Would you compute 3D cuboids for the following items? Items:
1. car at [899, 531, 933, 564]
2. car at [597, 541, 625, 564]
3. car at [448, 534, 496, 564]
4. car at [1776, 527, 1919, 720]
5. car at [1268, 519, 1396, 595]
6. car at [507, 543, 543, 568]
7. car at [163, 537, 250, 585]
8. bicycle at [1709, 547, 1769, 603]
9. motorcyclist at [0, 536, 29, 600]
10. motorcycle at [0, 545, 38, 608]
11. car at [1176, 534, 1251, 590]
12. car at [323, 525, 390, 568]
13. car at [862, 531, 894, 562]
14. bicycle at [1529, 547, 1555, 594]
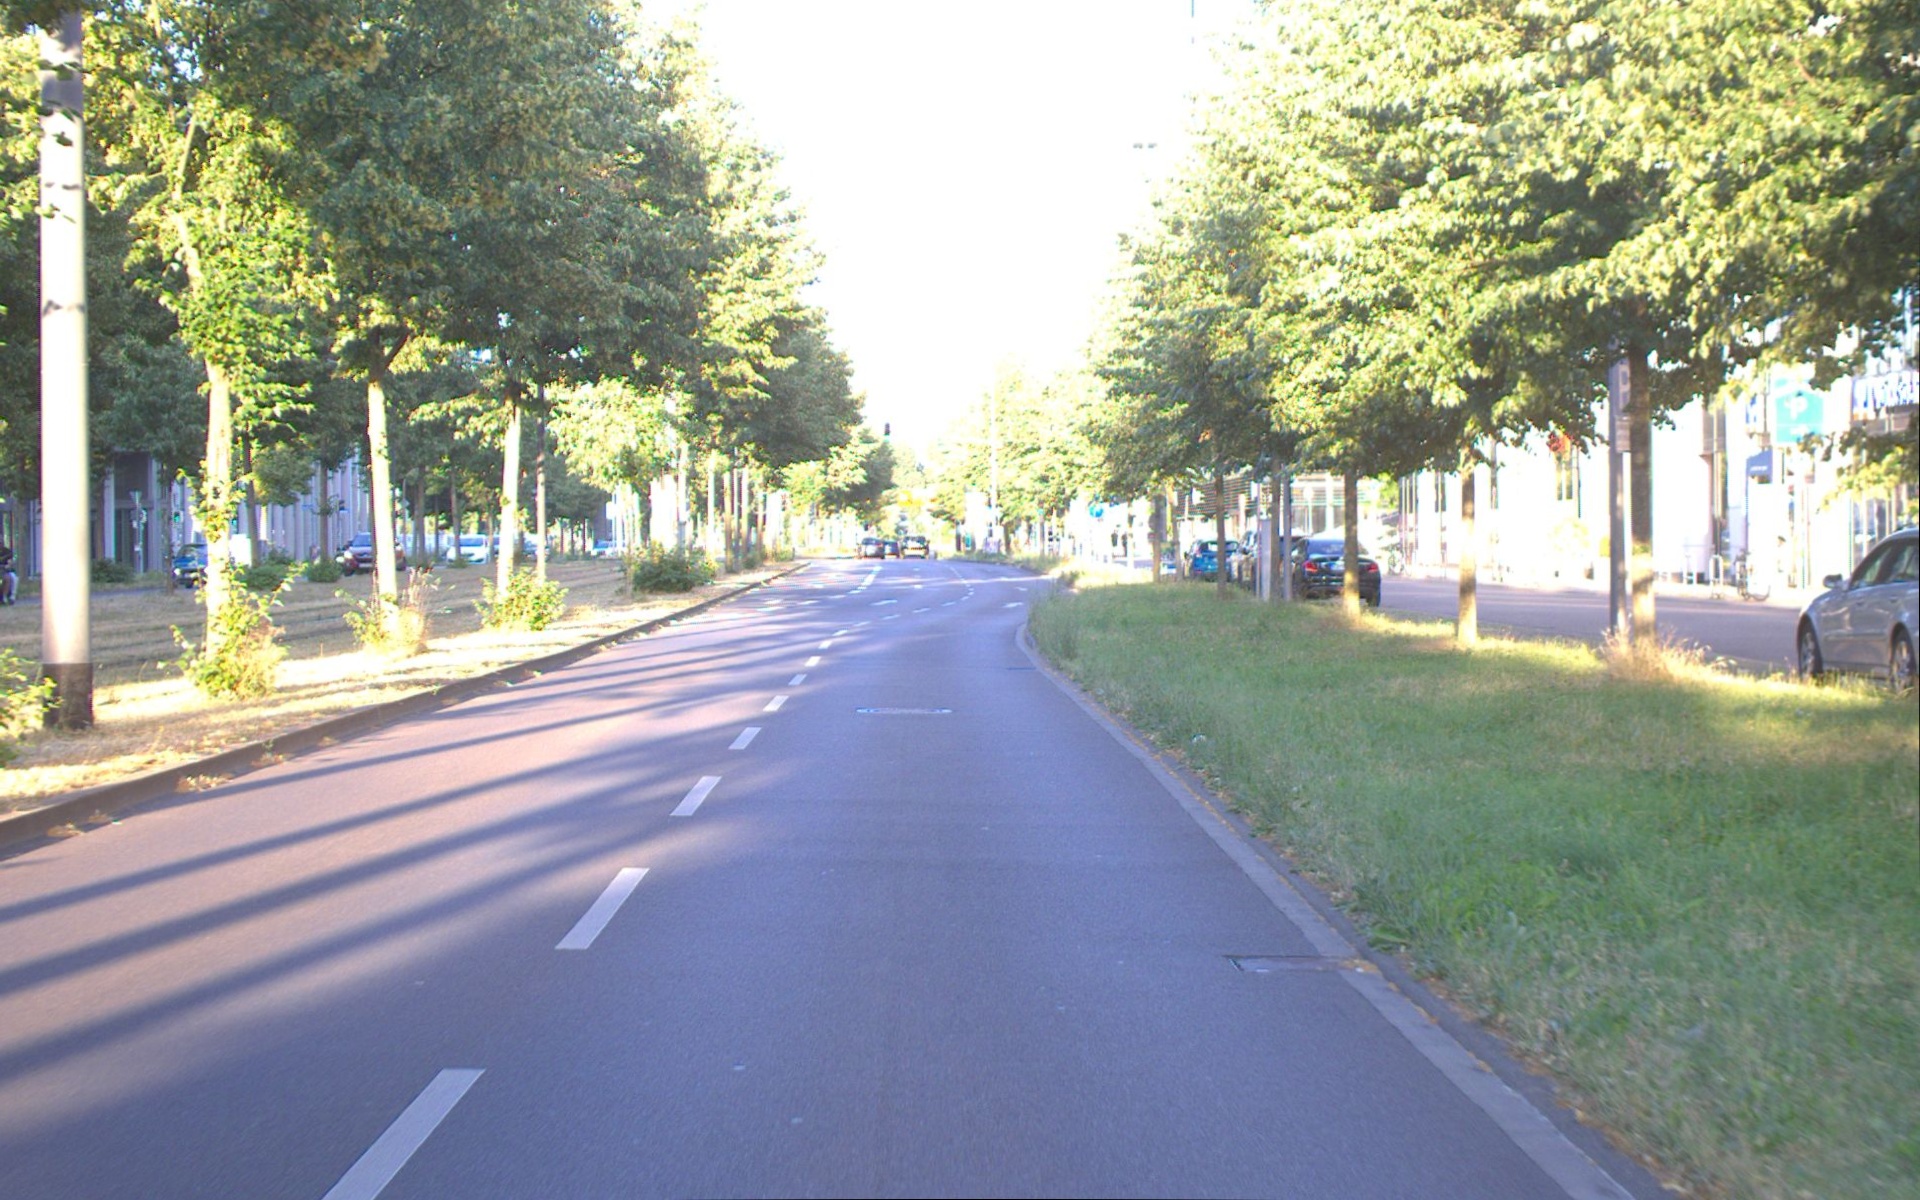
[{"bbox_3d":[-2.703,-3.208,209.020,1.993,2.007,4.001,0,1,-1],"label":"car"},{"bbox_3d":[-23.744,-3.221,234.023,1.804,1.541,3.535,0,1,-5],"label":"car"},{"bbox_3d":[-21.857,-2.301,154.027,1.657,1.327,4.531,0,1,-2],"label":"car"},{"bbox_3d":[8.380,0.144,28.823,1.808,1.495,4.826,0,1,-2],"label":"car"},{"bbox_3d":[7.818,-0.929,72.647,1.943,1.543,4.812,0,1,-3],"label":"car"},{"bbox_3d":[-25.171,-2.599,199.161,1.776,1.406,3.709,0,1,-3],"label":"car"},{"bbox_3d":[-24.246,-1.272,110.800,1.918,1.503,4.287,0,1,-1],"label":"car"},{"bbox_3d":[14.853,-0.486,65.590,0.652,1.035,2.055,0,1,0],"label":"bicycle"},{"bbox_3d":[-20.767,-0.702,74.989,0.681,1.371,0.805,-1,1,-2],"label":"motorcyclist"},{"bbox_3d":[-20.778,-0.518,75.077,0.682,1.332,2.345,-1,1,-1],"label":"motorcycle"},{"bbox_3d":[7.237,-1.108,98.544,1.724,1.524,4.269,1,1,-1],"label":"car"},{"bbox_3d":[-22.346,-1.985,127.413,1.885,1.572,4.183,0,1,-2],"label":"car"},{"bbox_3d":[-5.375,-3.514,225.365,2.087,2.007,4.001,0,1,-1],"label":"car"},{"bbox_3d":[14.570,-0.741,86.011,0.571,1.120,1.833,-2,1,11],"label":"bicycle"}]
